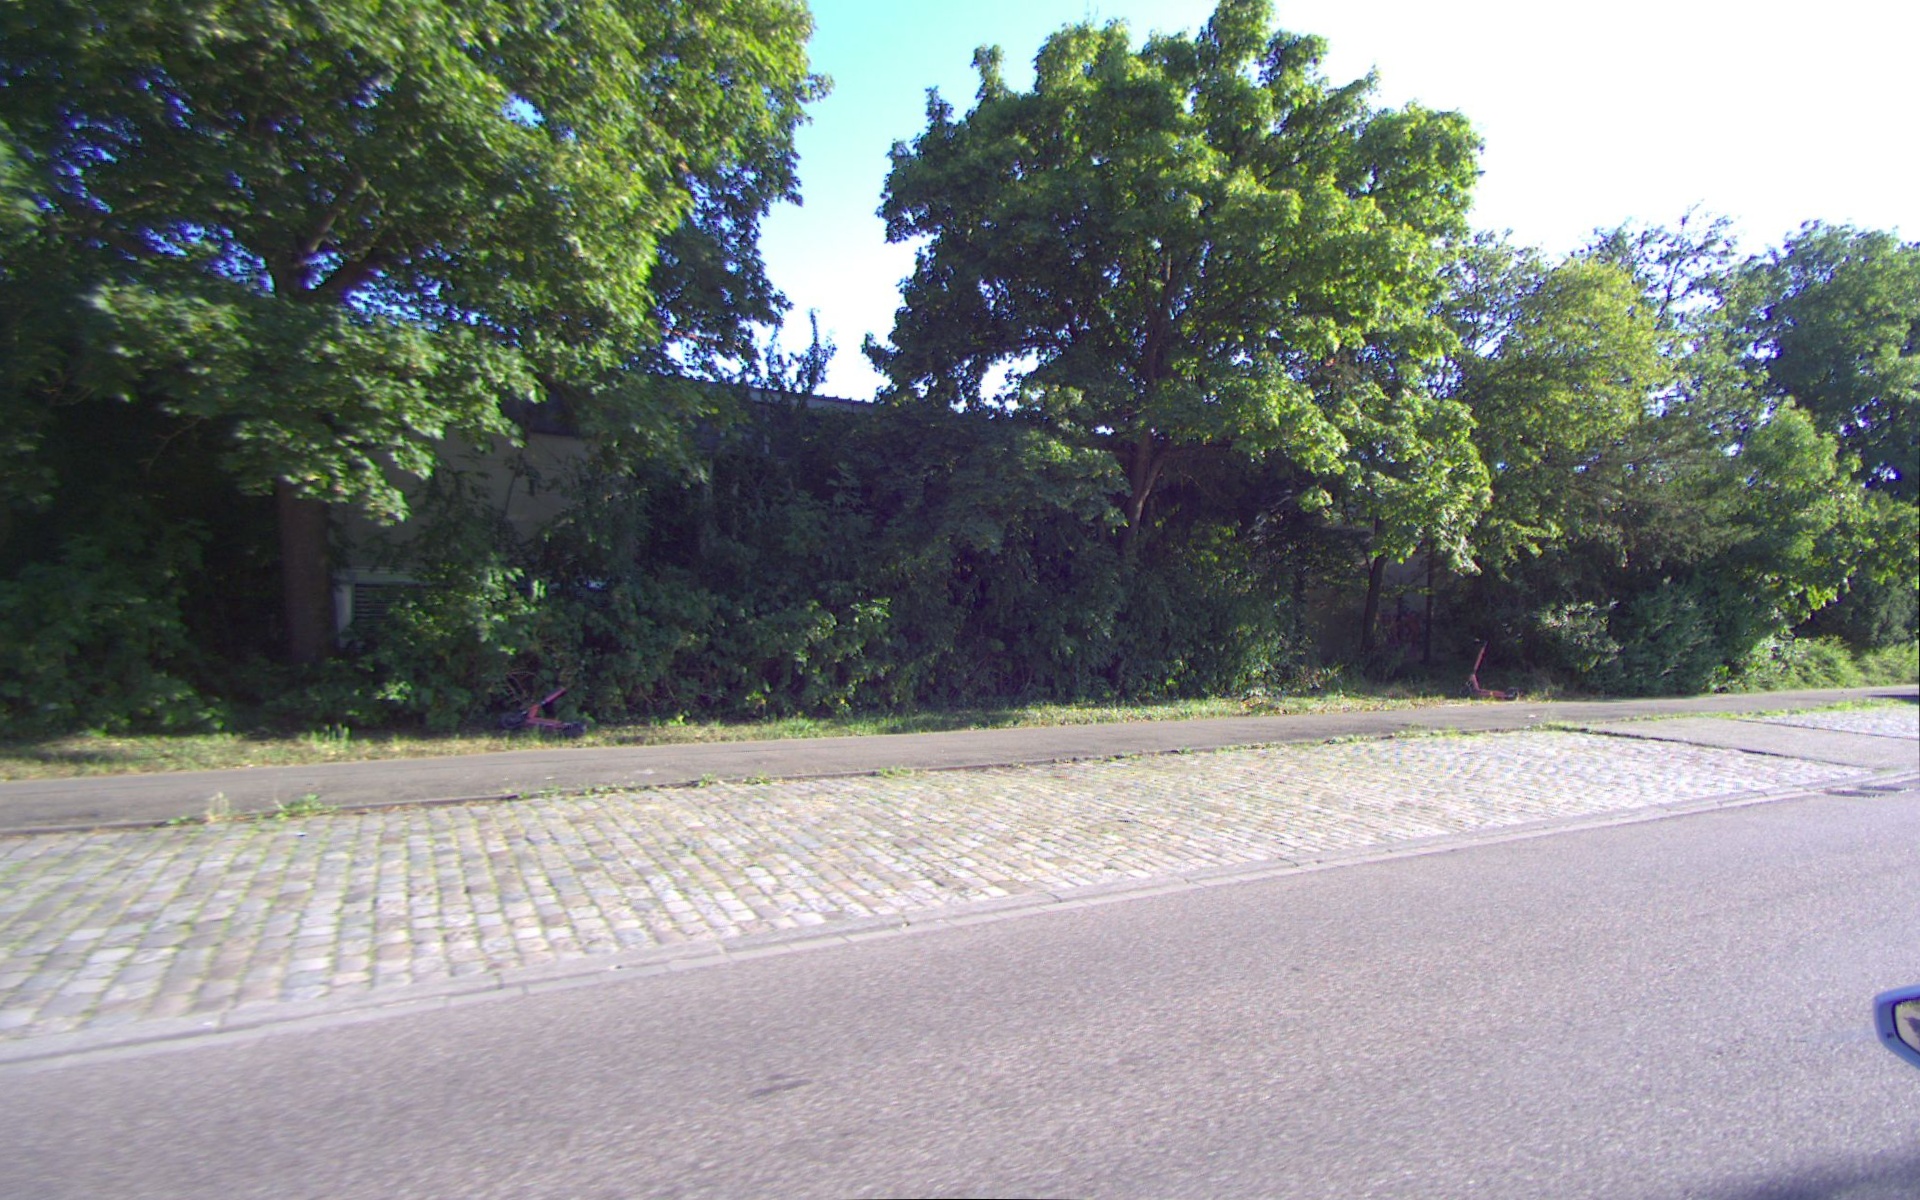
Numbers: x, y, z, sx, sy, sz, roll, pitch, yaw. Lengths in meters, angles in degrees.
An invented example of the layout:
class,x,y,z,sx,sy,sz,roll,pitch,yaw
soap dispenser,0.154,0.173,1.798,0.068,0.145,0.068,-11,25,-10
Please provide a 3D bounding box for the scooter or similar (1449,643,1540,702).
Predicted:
class,x,y,z,sx,sy,sz,roll,pitch,yaw
scooter or similar,10.922,1.471,20.564,1.552,1.160,0.578,0,-2,10
